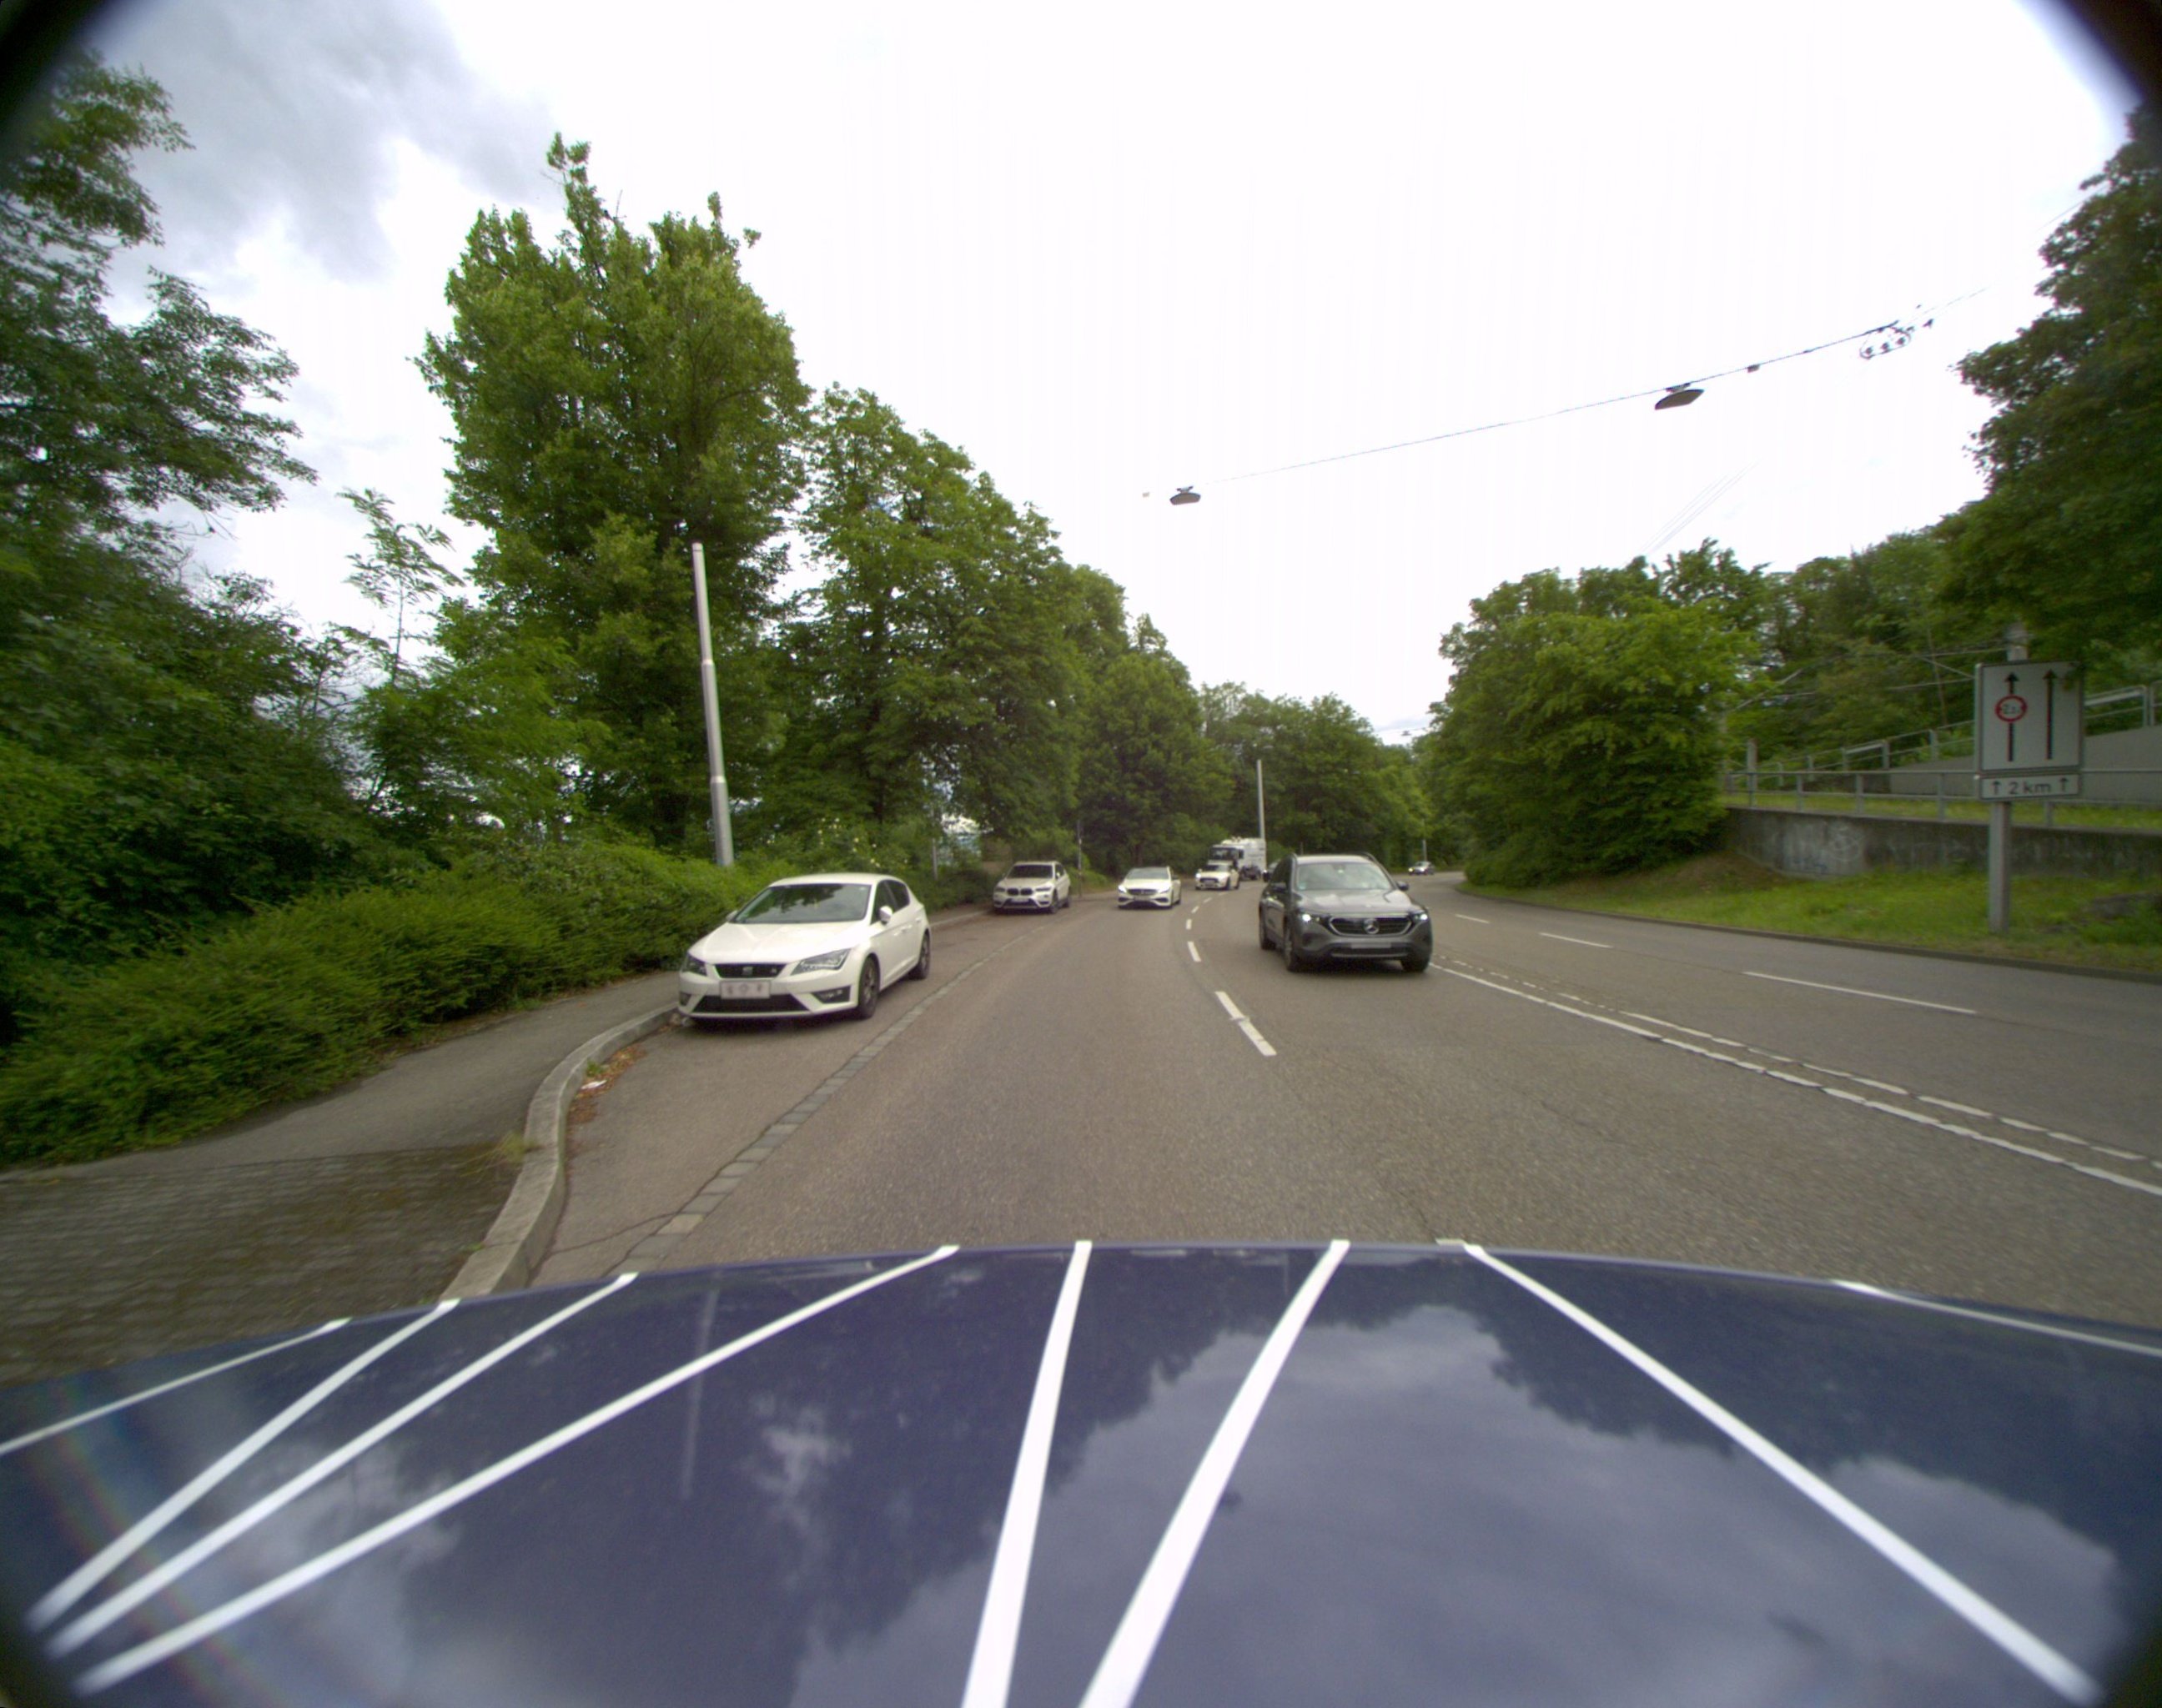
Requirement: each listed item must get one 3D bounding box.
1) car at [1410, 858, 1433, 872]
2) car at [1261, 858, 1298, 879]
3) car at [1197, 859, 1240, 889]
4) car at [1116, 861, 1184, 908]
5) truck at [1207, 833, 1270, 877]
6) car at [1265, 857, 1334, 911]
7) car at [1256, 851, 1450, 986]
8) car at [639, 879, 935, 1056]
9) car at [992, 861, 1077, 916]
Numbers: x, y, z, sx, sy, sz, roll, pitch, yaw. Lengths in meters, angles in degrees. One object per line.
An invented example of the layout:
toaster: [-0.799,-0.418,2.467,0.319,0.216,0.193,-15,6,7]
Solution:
car: [34.893,1.087,77.784,1.752,1.354,4.018,-1,-1,30]
car: [14.111,1.003,53.776,1.752,1.417,4.018,1,0,26]
car: [7.247,1.003,39.846,1.686,1.416,3.738,1,1,19]
car: [2.456,0.997,26.137,1.800,1.470,4.015,-1,-1,13]
truck: [11.824,0.096,56.604,2.195,3.137,6.665,-1,-1,33]
car: [7.276,0.953,25.700,1.852,1.641,4.362,-1,-1,11]
car: [3.837,0.826,11.525,1.853,1.641,4.360,-1,-1,7]
car: [-2.941,1.056,8.569,1.765,1.433,3.892,-1,-1,1]
car: [-1.362,1.033,24.123,1.754,1.575,4.014,-1,-1,10]
